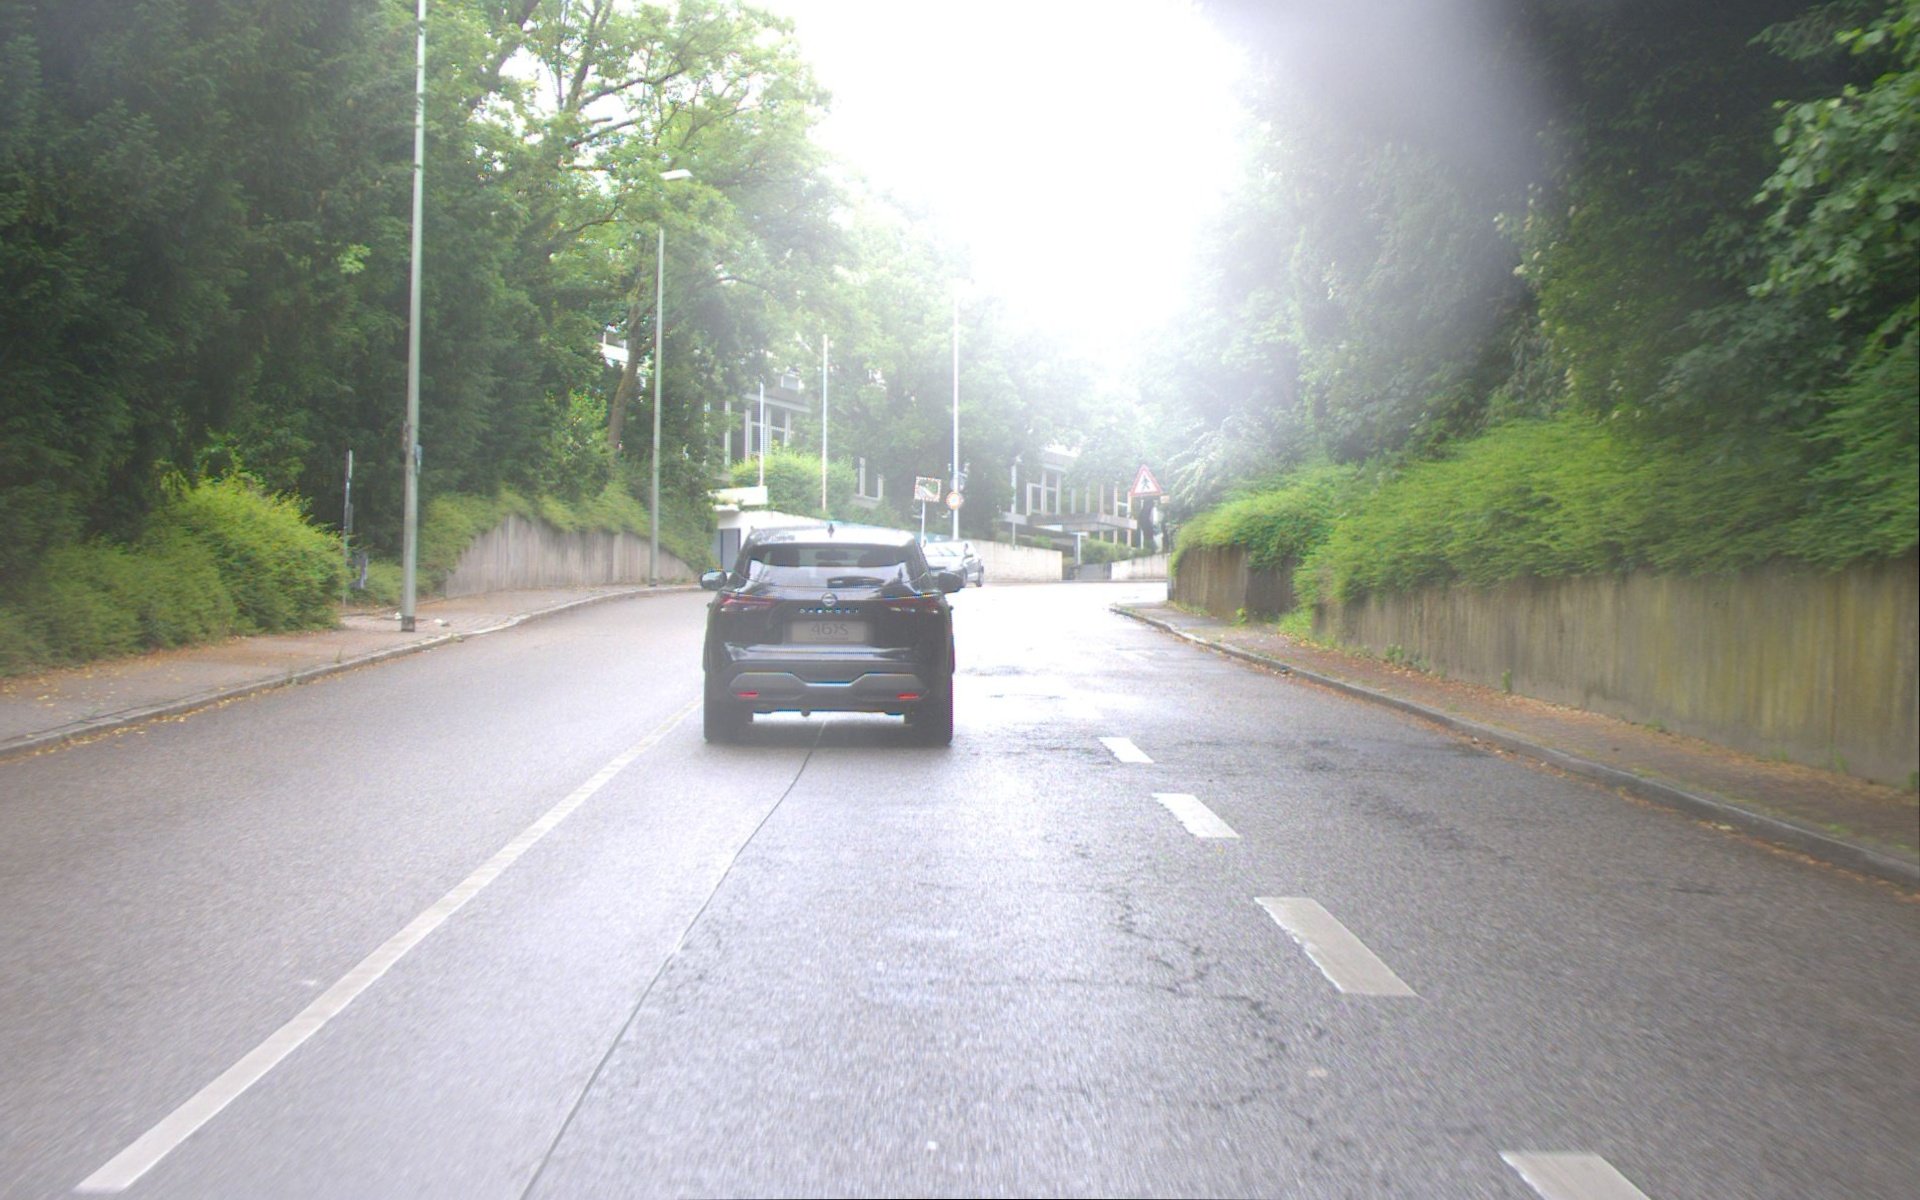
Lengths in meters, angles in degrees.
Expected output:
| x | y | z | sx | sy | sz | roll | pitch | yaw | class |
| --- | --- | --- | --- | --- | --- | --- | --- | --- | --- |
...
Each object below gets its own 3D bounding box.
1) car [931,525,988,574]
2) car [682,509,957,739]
| x | y | z | sx | sy | sz | roll | pitch | yaw | class |
| --- | --- | --- | --- | --- | --- | --- | --- | --- | --- |
| -0.033 | -1.613 | 108.439 | 1.675 | 1.491 | 3.461 | 1 | 1 | -1 | car |
| -1.028 | 0.125 | 26.268 | 1.928 | 1.607 | 4.000 | 1 | 1 | -1 | car |
